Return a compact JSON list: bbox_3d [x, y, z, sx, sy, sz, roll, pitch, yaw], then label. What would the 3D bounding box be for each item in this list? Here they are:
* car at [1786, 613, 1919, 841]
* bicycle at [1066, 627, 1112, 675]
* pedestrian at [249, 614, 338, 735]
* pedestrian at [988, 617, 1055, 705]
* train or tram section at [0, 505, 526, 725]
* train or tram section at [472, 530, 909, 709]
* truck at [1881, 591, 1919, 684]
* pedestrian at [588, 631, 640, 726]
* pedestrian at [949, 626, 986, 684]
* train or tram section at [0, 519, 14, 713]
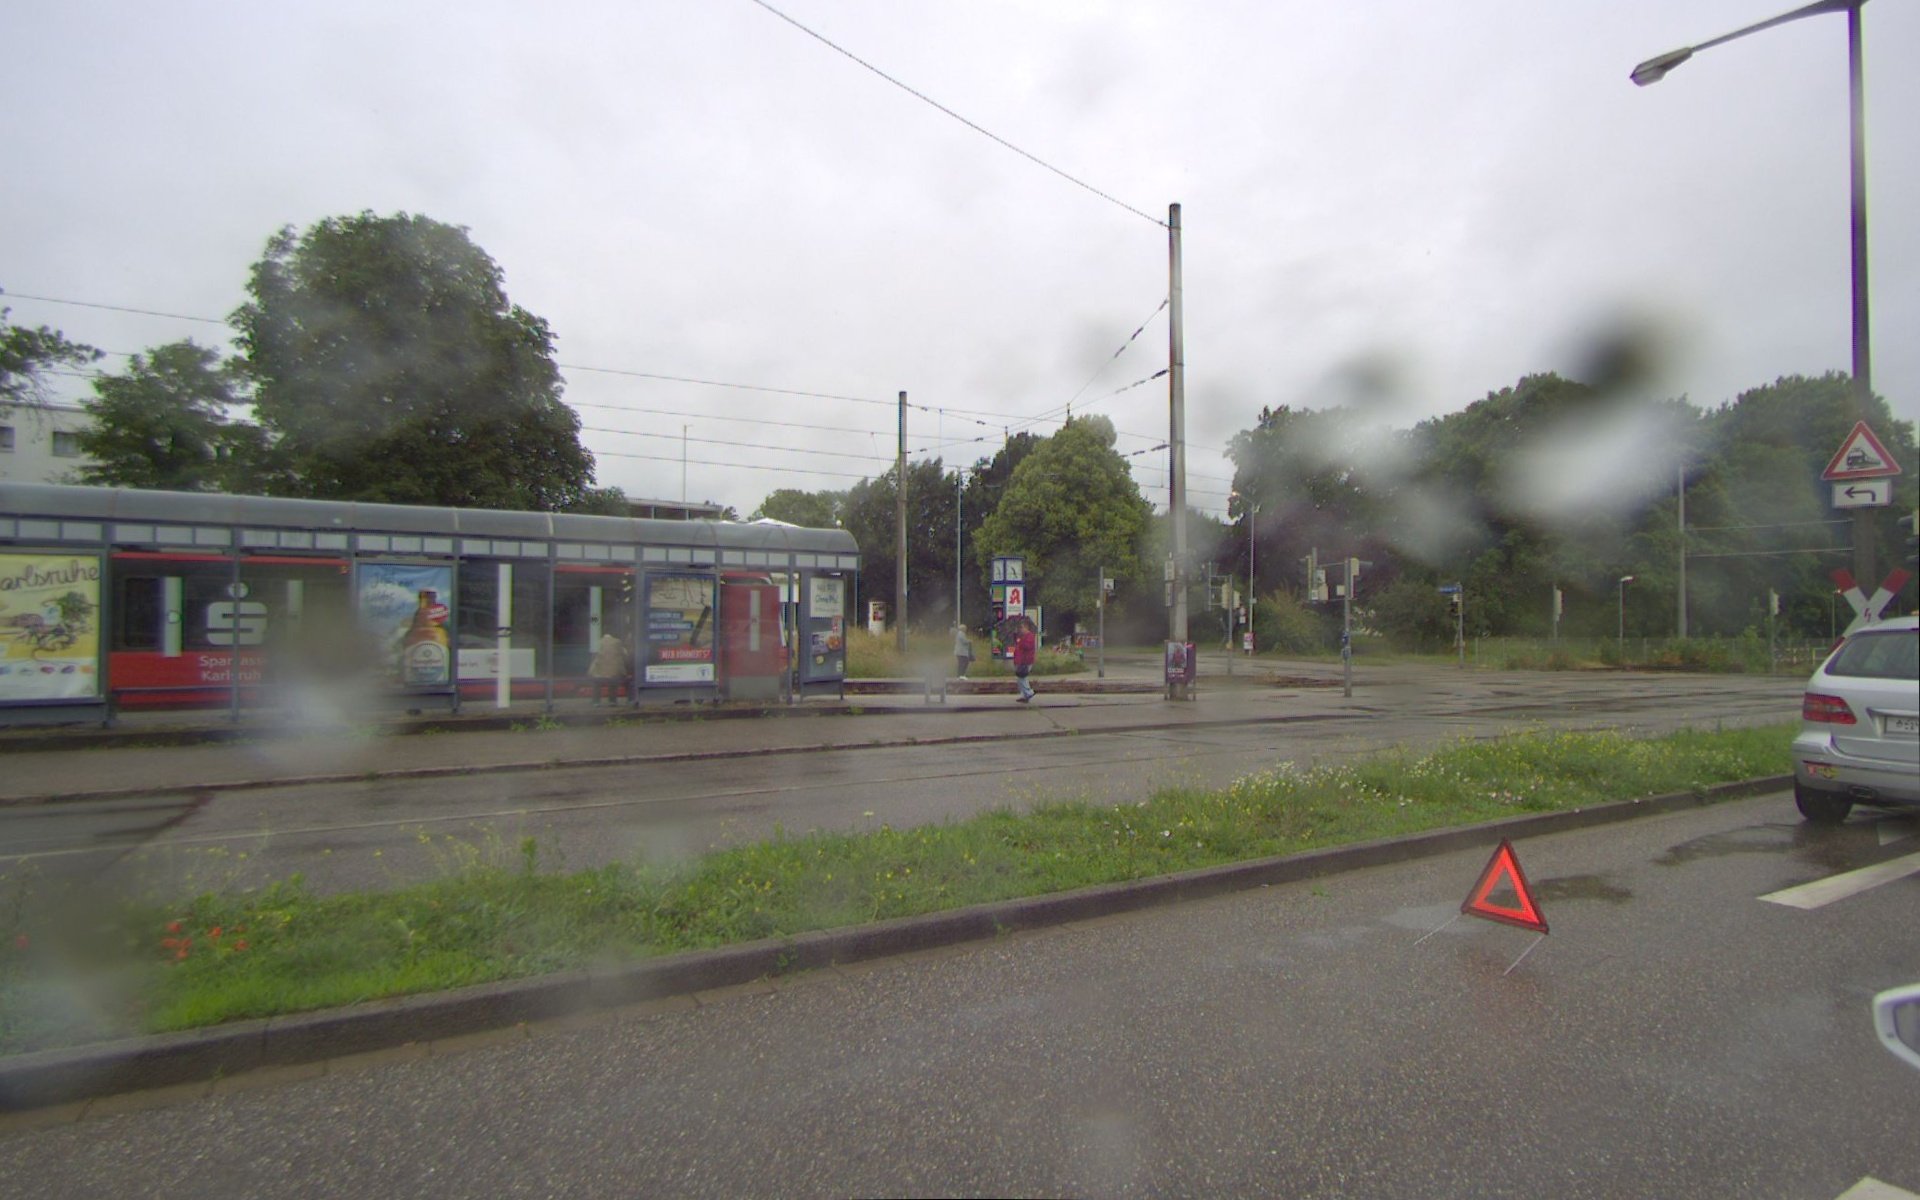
[{"bbox_3d":[8.357,0.915,7.887,3.968,1.564,1.727,1,-1,-32],"label":"car"},{"bbox_3d":[4.909,1.936,38.209,1.714,1.784,0.637,1,-1,-30],"label":"bicycle"},{"bbox_3d":[-9.280,1.013,14.024,0.917,1.618,0.801,1,-1,-28],"label":"pedestrian"},{"bbox_3d":[1.236,1.215,20.265,0.985,1.698,0.920,2,0,-30],"label":"pedestrian"},{"bbox_3d":[-13.314,0.333,18.827,9.170,3.435,3.516,1,-2,-31],"label":"train or tram section"},{"bbox_3d":[-6.031,0.491,23.156,9.170,3.434,3.516,1,-2,-31],"label":"train or tram section"},{"bbox_3d":[48.211,1.868,48.117,10.290,4.223,3.367,2,0,-32],"label":"truck"},{"bbox_3d":[-5.550,1.233,16.100,0.691,1.472,0.623,1,-2,-29],"label":"pedestrian"},{"bbox_3d":[0.213,1.631,30.024,0.795,1.679,0.776,2,0,-31],"label":"pedestrian"},{"bbox_3d":[-20.868,0.170,14.296,10.141,3.445,3.516,1,-2,-31],"label":"train or tram section"}]
